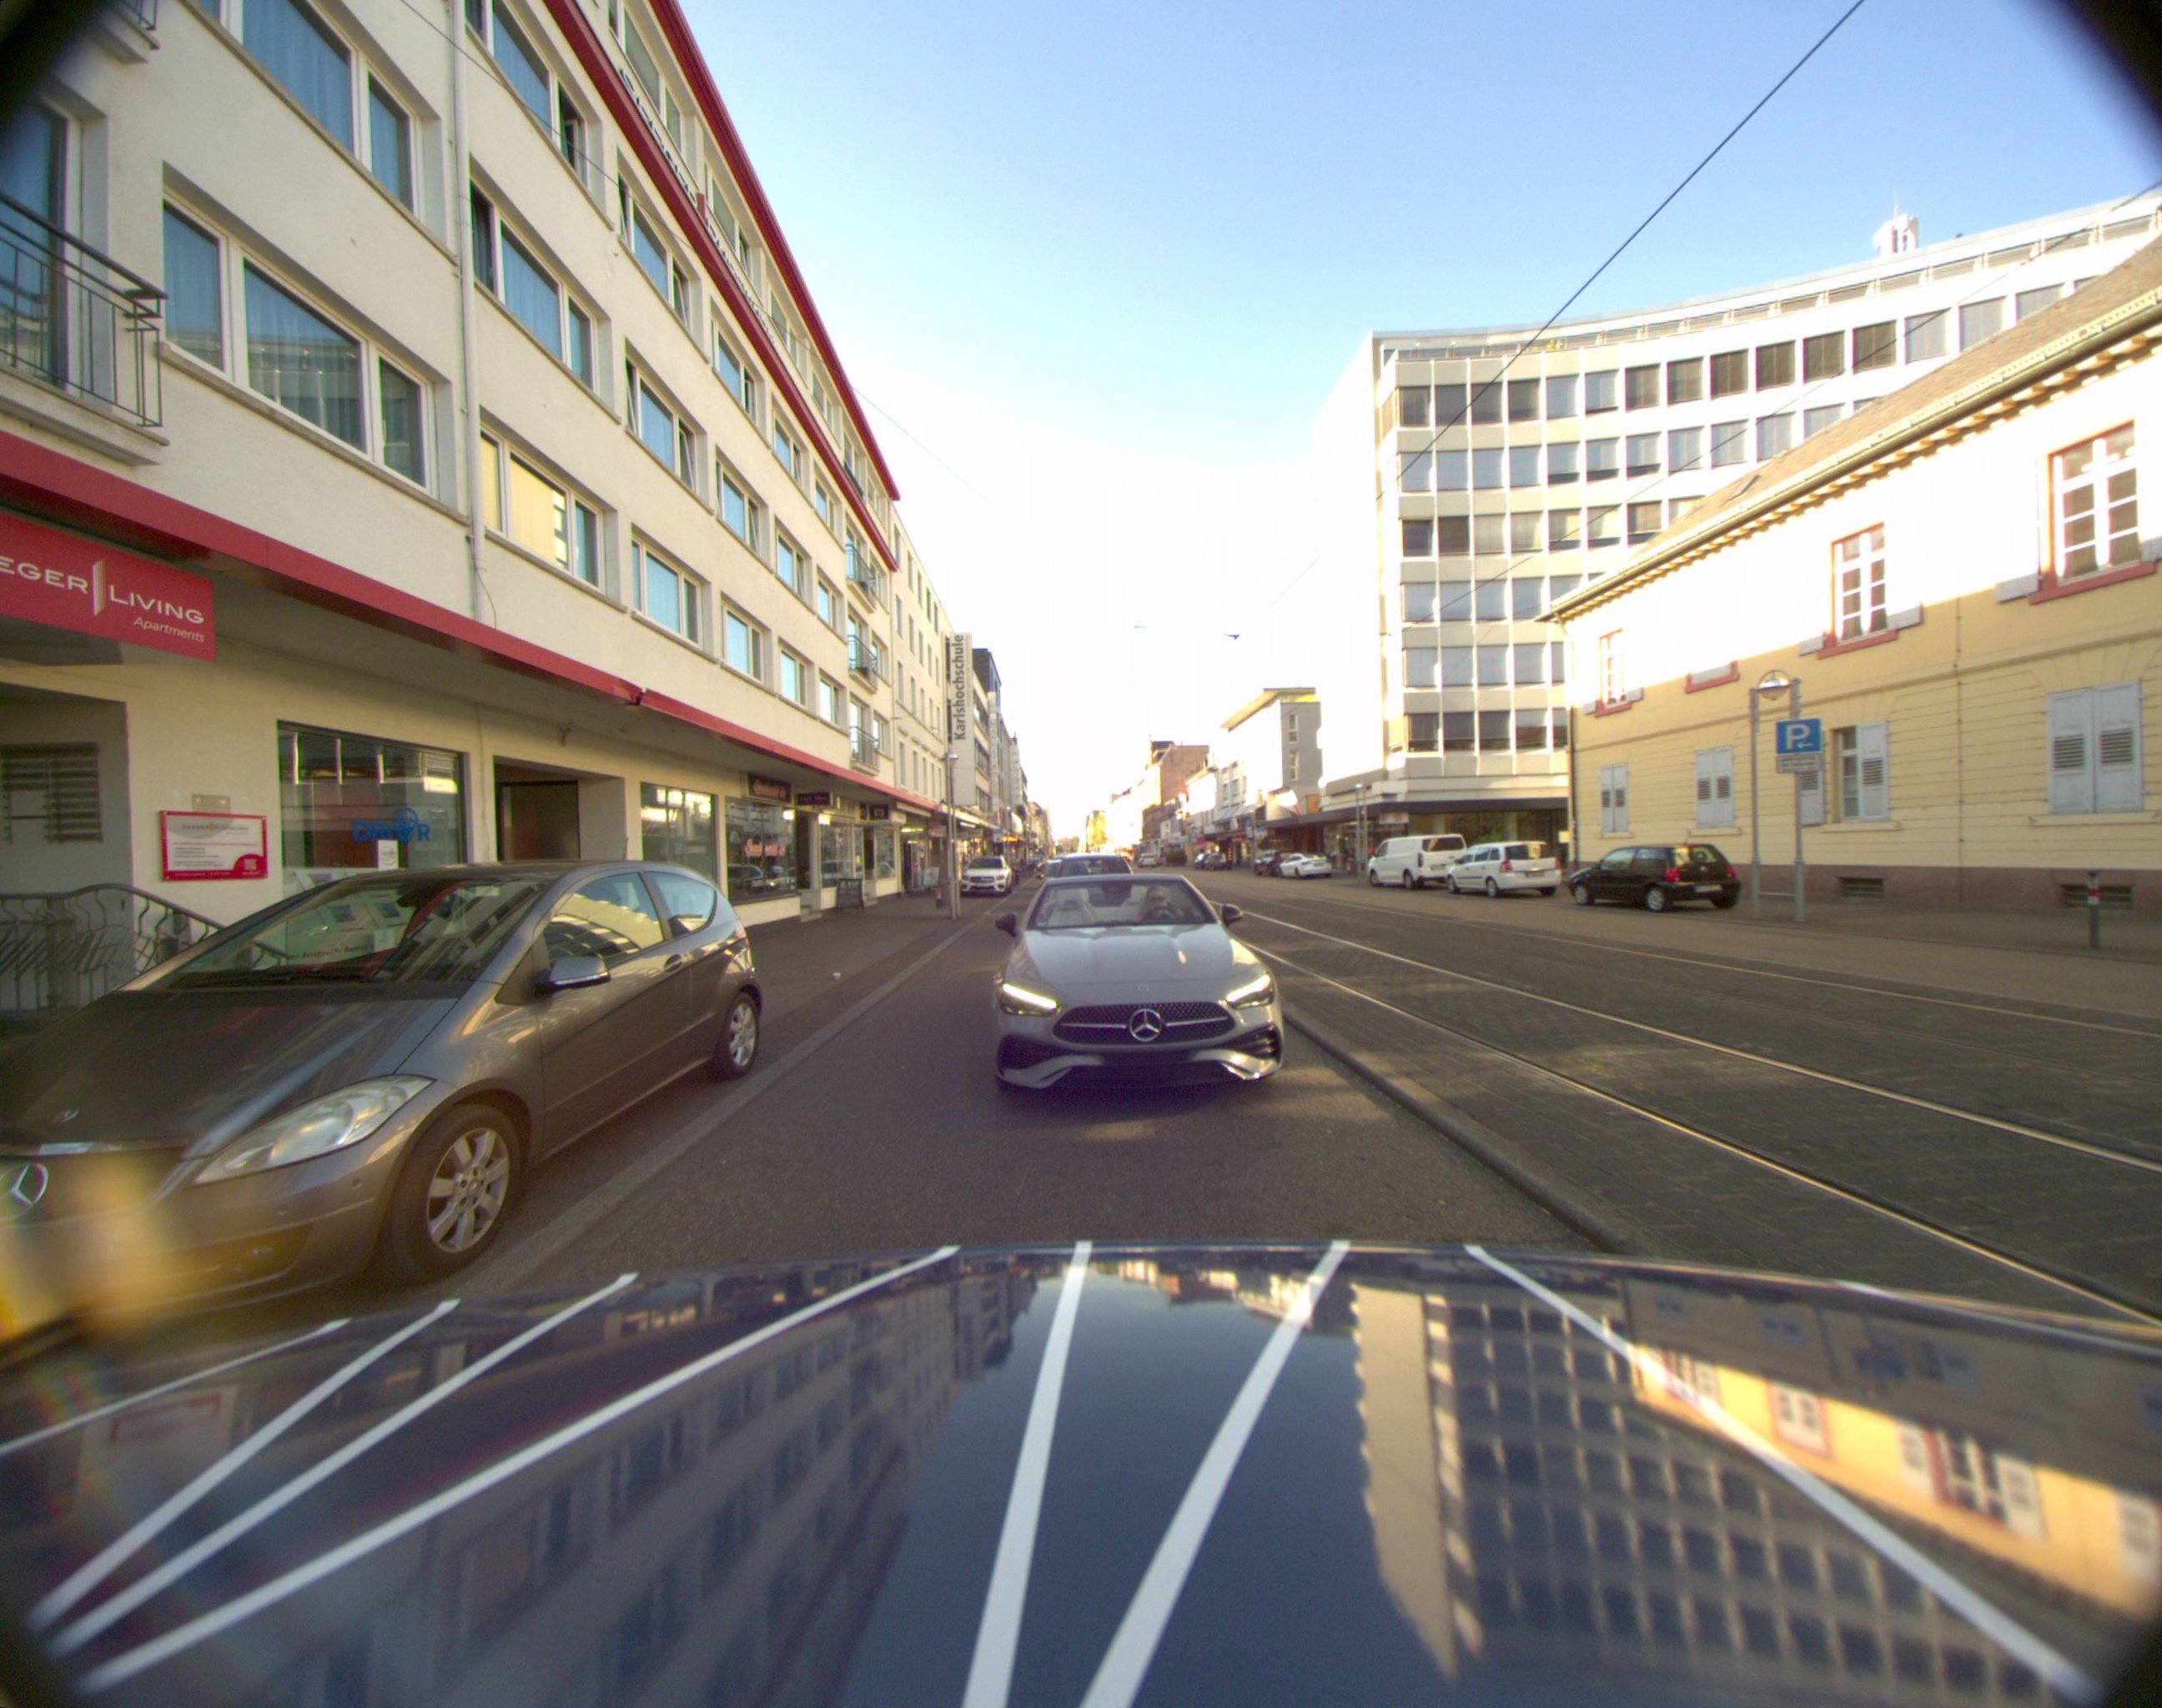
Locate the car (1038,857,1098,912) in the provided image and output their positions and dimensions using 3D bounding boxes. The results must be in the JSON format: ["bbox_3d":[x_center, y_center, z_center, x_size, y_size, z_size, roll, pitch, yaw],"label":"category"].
[{"bbox_3d":[-0.400,0.865,23.530,1.648,1.506,3.844,-2,0,-1],"label":"car"}]

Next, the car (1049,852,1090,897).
[{"bbox_3d":[-0.495,0.810,31.916,1.573,1.670,3.688,-2,1,-1],"label":"car"}]

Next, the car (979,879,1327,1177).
[{"bbox_3d":[0.268,1.009,6.166,1.884,1.375,3.998,-2,1,-4],"label":"car"}]

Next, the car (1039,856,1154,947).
[{"bbox_3d":[0.177,0.856,15.567,1.927,1.533,3.998,-2,0,-4],"label":"car"}]

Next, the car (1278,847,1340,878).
[{"bbox_3d":[12.574,0.421,42.254,1.999,1.521,4.373,-2,1,-1],"label":"car"}]

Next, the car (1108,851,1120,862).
[{"bbox_3d":[6.608,0.445,150.820,1.999,2.002,3.998,-2,1,-2],"label":"car"}]

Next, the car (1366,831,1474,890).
[{"bbox_3d":[12.690,0.230,28.791,2.040,2.002,4.621,-1,0,1],"label":"car"}]

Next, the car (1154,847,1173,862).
[{"bbox_3d":[10.937,0.059,100.829,1.998,2.002,4.000,-1,0,1],"label":"car"}]

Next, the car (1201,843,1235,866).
[{"bbox_3d":[11.811,0.030,65.542,1.999,1.849,3.998,-2,1,-2],"label":"car"}]

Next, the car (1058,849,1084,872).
[{"bbox_3d":[-0.851,0.497,62.096,1.999,1.793,3.999,-2,1,-1],"label":"car"}]

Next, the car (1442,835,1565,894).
[{"bbox_3d":[12.735,0.268,23.214,1.641,1.600,4.005,-2,1,3],"label":"car"}]

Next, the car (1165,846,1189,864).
[{"bbox_3d":[11.430,0.131,90.352,2.200,2.030,3.999,-1,0,-1],"label":"car"}]

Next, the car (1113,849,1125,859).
[{"bbox_3d":[7.042,-0.010,141.070,1.914,1.883,3.855,-2,1,-2],"label":"car"}]

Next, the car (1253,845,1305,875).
[{"bbox_3d":[12.341,0.359,47.688,1.999,1.694,4.107,-3,1,-2],"label":"car"}]

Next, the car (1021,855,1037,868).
[{"bbox_3d":[-6.110,0.855,89.783,1.714,1.430,3.756,-2,1,-1],"label":"car"}]

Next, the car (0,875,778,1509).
[{"bbox_3d":[-3.220,0.962,3.969,1.683,1.537,3.999,-2,0,-1],"label":"car"}]

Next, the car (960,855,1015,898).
[{"bbox_3d":[-3.837,0.887,31.723,1.999,1.620,3.998,-1,0,-4],"label":"car"}]

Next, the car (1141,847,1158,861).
[{"bbox_3d":[10.797,0.015,120.079,1.999,2.002,5.320,-1,0,-2],"label":"car"}]

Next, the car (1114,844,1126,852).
[{"bbox_3d":[9.033,-1.388,176.381,2.148,1.850,3.998,-2,1,-2],"label":"car"}]

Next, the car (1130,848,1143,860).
[{"bbox_3d":[9.757,0.003,134.298,1.999,2.002,3.999,-1,0,-1],"label":"car"}]

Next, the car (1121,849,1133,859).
[{"bbox_3d":[9.571,-0.050,157.329,1.999,2.002,3.999,-1,0,-2],"label":"car"}]

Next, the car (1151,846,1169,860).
[{"bbox_3d":[11.552,-0.161,111.332,1.999,2.002,3.998,-2,1,-2],"label":"car"}]

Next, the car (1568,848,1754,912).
[{"bbox_3d":[12.869,0.512,17.107,1.688,1.246,3.212,-2,1,-1],"label":"car"}]

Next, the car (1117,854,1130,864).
[{"bbox_3d":[6.937,0.852,123.345,1.964,1.499,4.000,-2,1,4],"label":"car"}]

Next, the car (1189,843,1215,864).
[{"bbox_3d":[11.775,-0.048,74.191,1.789,1.870,3.999,-1,0,-2],"label":"car"}]

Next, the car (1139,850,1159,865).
[{"bbox_3d":[7.646,0.382,85.729,1.760,1.587,3.999,-1,0,-2],"label":"car"}]
